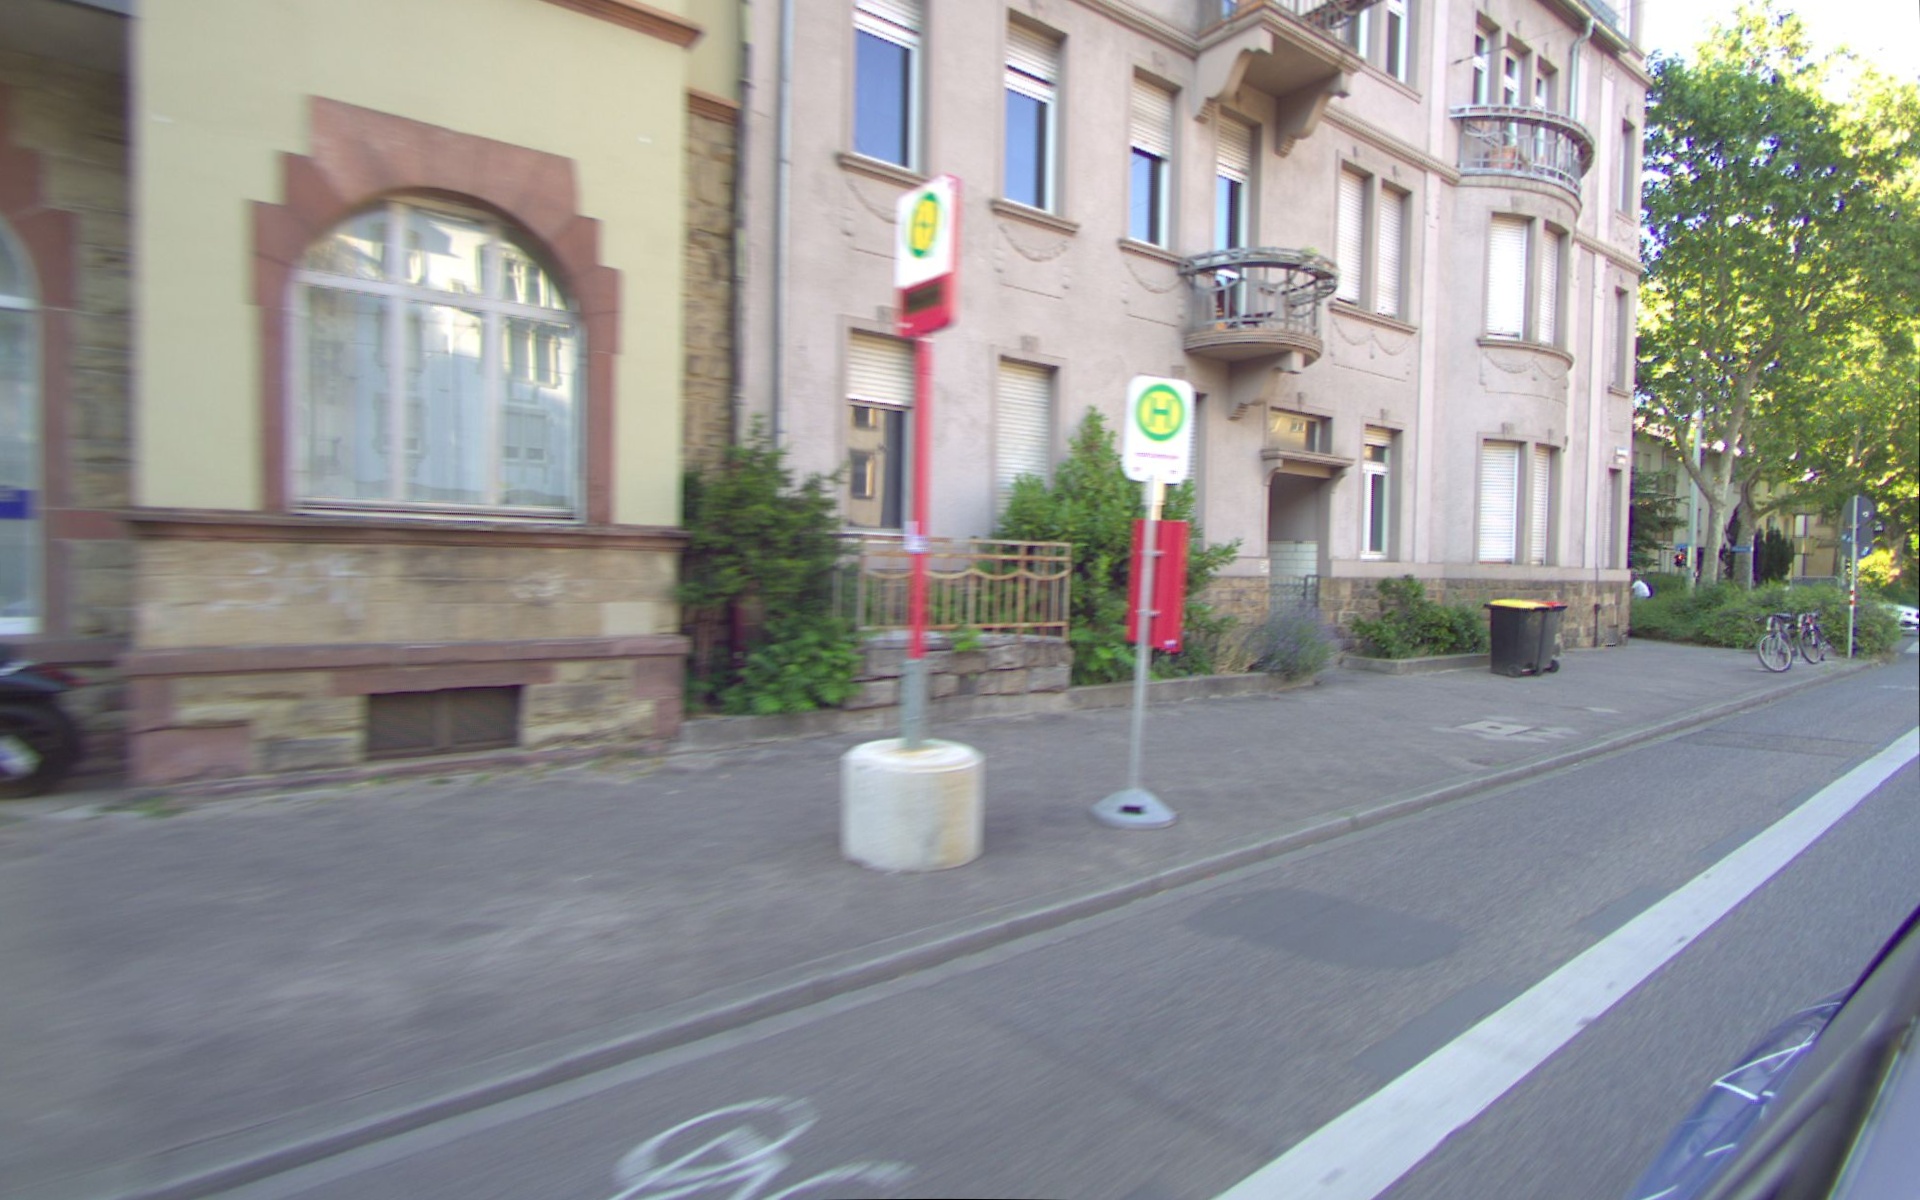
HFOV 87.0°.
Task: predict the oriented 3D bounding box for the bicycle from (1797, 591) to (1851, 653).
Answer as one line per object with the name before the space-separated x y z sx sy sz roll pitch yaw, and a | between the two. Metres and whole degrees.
bicycle | 15.948 0.391 18.664 1.840 1.081 0.371 -1 2 -38

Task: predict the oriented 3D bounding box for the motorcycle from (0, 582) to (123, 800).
motorcycle | -5.911 0.515 5.190 2.462 1.151 0.591 -2 3 -41

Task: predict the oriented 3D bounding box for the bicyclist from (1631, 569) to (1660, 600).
bicyclist | 28.486 -0.636 42.041 0.648 1.251 0.768 -1 3 -33

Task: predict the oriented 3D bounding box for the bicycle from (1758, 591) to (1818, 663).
bicycle | 13.666 0.418 16.681 1.899 1.112 0.437 -1 3 -42

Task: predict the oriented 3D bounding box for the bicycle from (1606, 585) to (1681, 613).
bicycle | 28.428 -0.065 42.160 0.640 1.118 2.554 -1 2 -33

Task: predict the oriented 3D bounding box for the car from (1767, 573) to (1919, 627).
car | 28.901 -0.055 32.686 1.746 1.544 4.061 -1 3 -31

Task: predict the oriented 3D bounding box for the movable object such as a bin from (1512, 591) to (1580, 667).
movable object such as a bin | 8.654 0.415 14.950 0.645 1.059 0.572 -1 3 -24

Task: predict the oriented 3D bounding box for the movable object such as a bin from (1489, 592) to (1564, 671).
movable object such as a bin | 8.120 0.437 14.525 0.645 1.059 0.659 -1 3 -24
